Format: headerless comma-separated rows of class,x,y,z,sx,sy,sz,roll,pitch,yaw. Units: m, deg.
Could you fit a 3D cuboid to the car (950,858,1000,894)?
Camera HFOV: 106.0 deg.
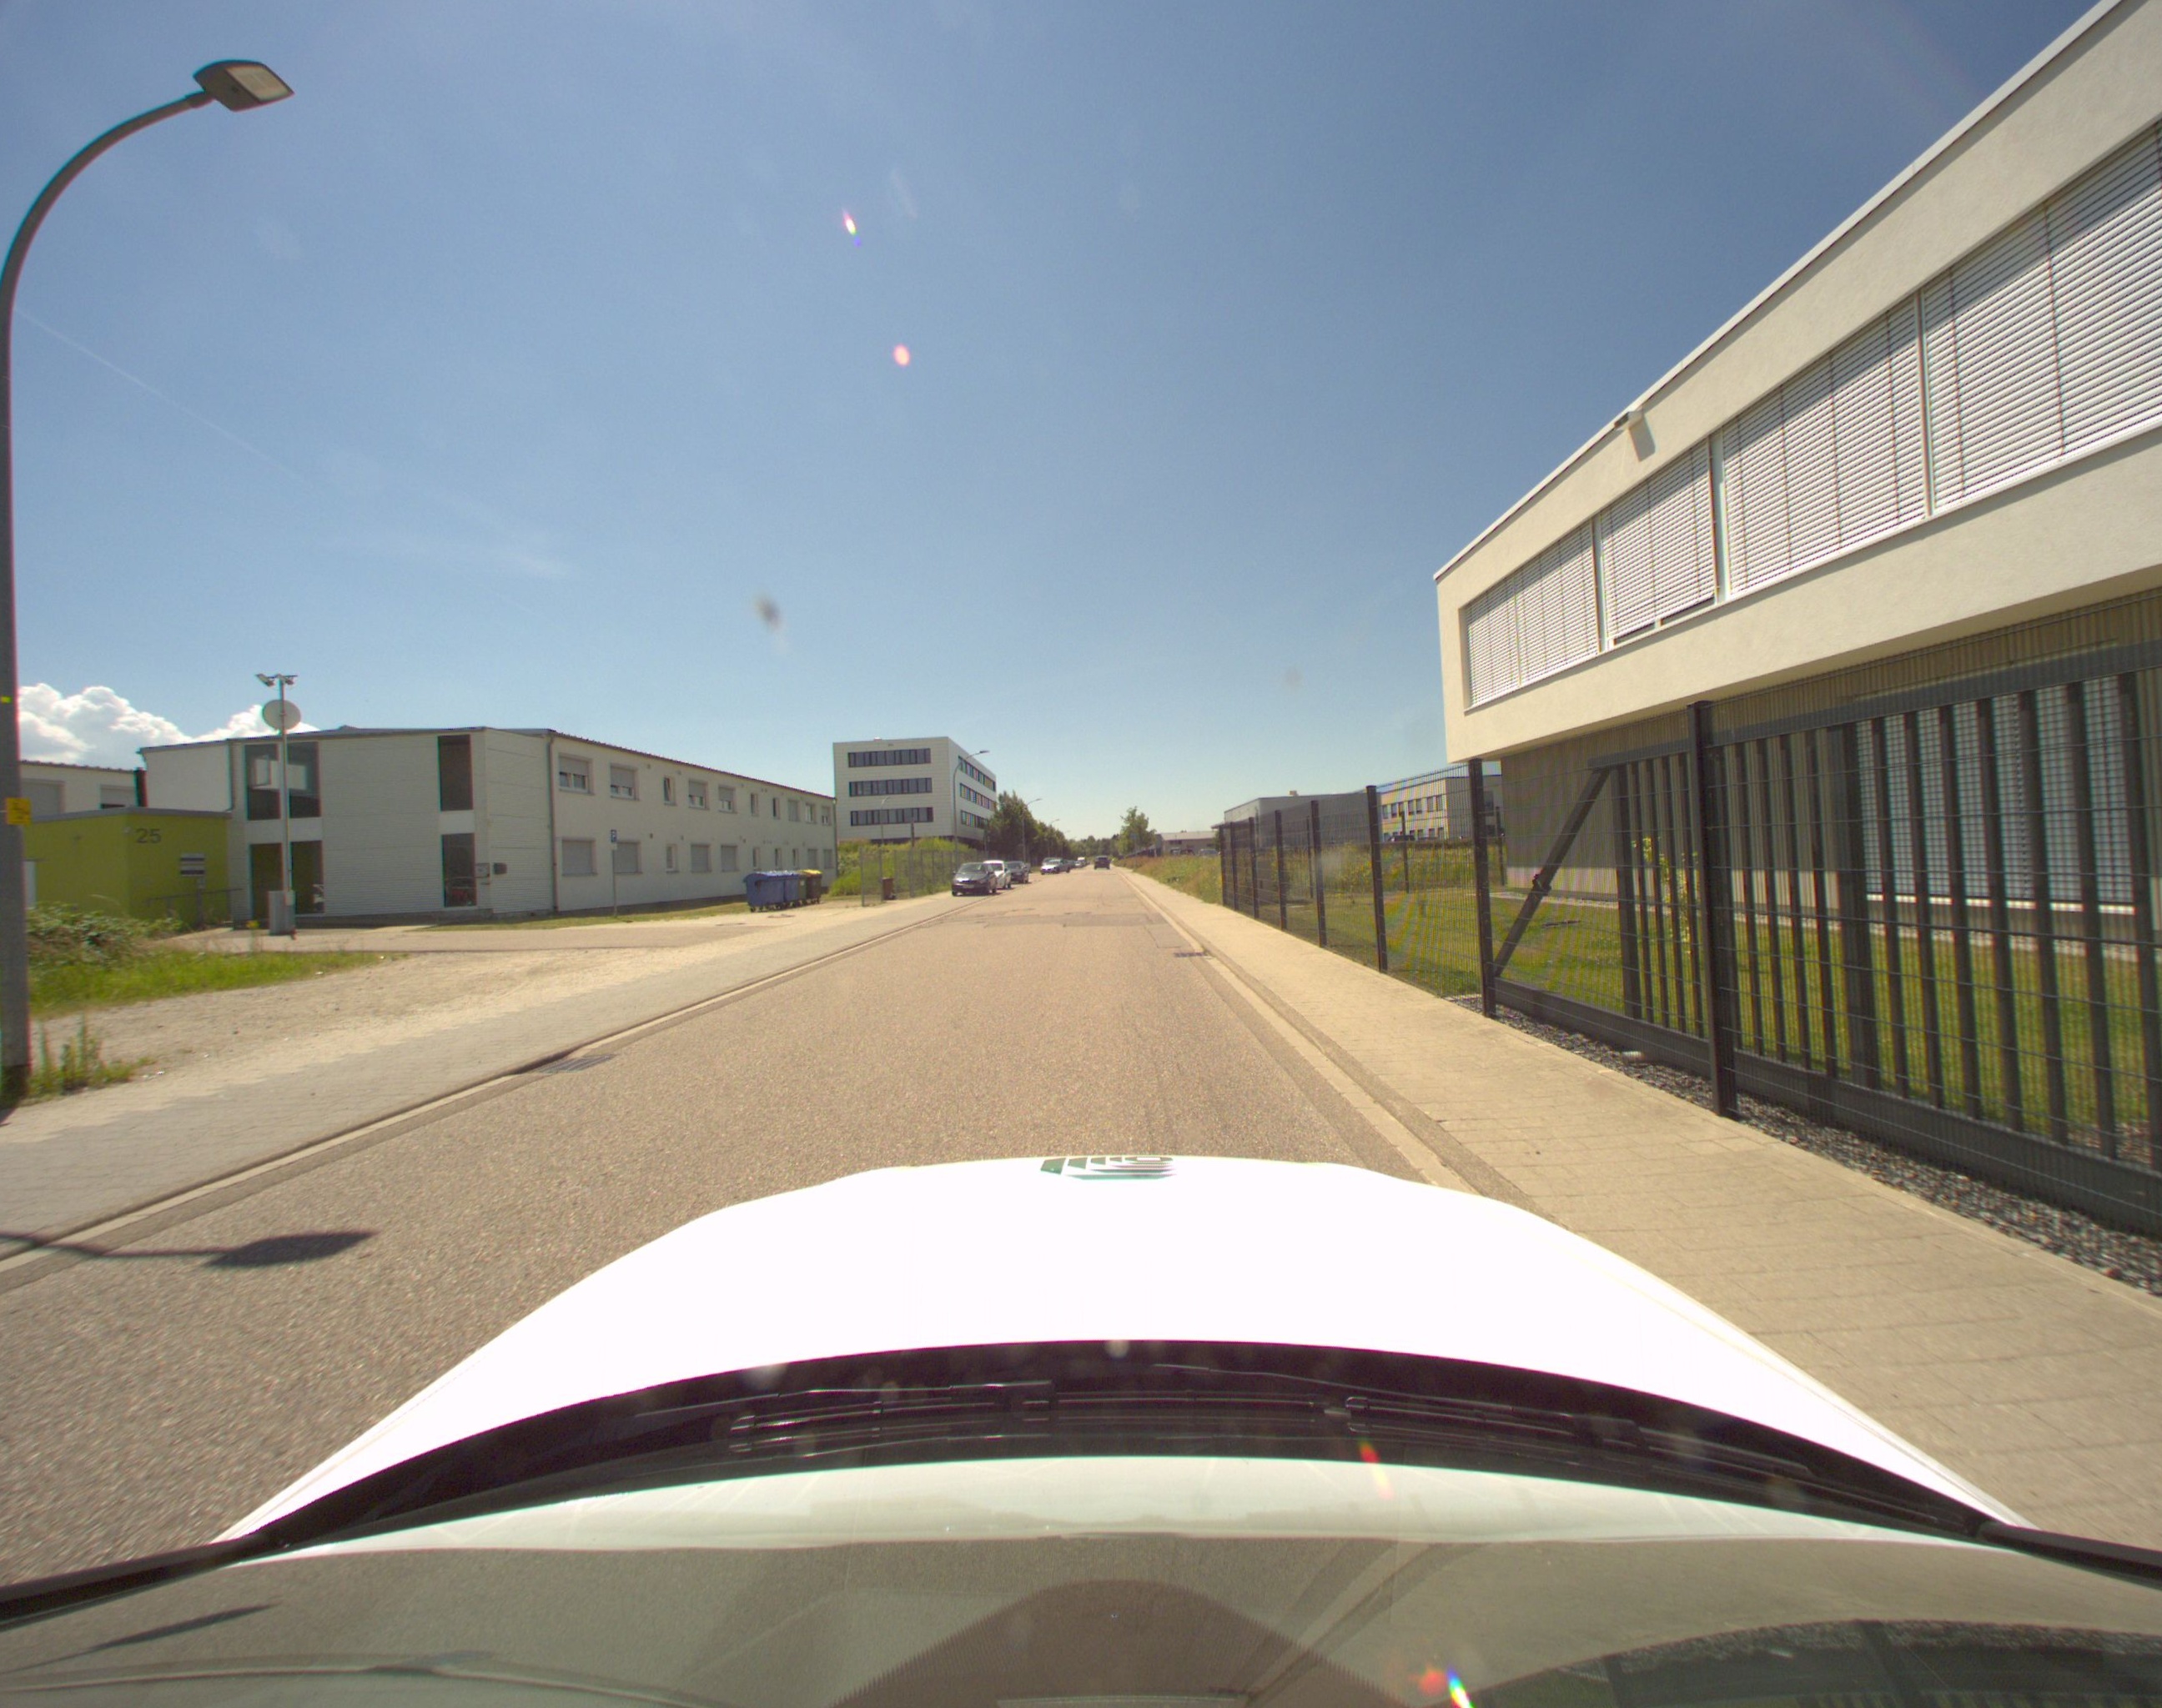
car,-4.810,0.975,37.503,1.668,1.530,3.910,-2,-1,1

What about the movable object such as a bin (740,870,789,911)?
movable object such as a bin,-11.847,1.333,30.528,1.138,1.448,1.435,-2,-1,4

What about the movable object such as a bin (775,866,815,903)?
movable object such as a bin,-11.755,1.257,33.531,1.084,1.448,1.389,-2,-1,0

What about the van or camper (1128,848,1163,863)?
van or camper,12.836,0.238,163.051,6.735,2.585,2.635,-3,-1,0

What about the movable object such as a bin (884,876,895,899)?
movable object such as a bin,-7.990,1.378,33.992,0.303,0.940,0.497,-2,-1,4

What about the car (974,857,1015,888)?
car,-4.629,0.979,43.907,1.668,1.530,3.758,-2,-1,1

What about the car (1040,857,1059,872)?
car,-3.571,1.246,92.721,1.764,1.588,4.482,-2,-1,1

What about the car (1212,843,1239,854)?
car,22.412,-0.899,126.553,3.856,1.403,1.768,-4,-1,3

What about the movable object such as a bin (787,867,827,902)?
movable object such as a bin,-11.759,1.287,34.957,1.137,1.405,1.389,-2,-1,4

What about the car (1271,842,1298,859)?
car,18.344,-0.334,73.462,1.509,1.397,3.540,-3,-1,0

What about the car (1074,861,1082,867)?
car,-0.766,2.343,190.456,1.715,1.476,3.855,-2,-1,-1

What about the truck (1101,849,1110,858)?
truck,8.029,-0.141,262.937,2.922,2.974,6.421,-1,-1,2

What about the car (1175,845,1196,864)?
car,9.350,0.093,72.927,1.461,1.574,2.662,-3,-1,1

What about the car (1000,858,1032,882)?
car,-4.169,1.020,52.756,1.668,1.450,4.070,-2,-1,1

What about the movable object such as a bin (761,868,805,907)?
movable object such as a bin,-11.733,1.312,32.113,1.119,1.448,1.373,-2,-1,4

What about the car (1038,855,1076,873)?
car,-2.377,0.996,82.662,1.753,1.588,4.102,-3,-1,34

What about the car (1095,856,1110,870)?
car,2.550,1.073,97.366,1.783,1.623,3.810,0,-1,1
